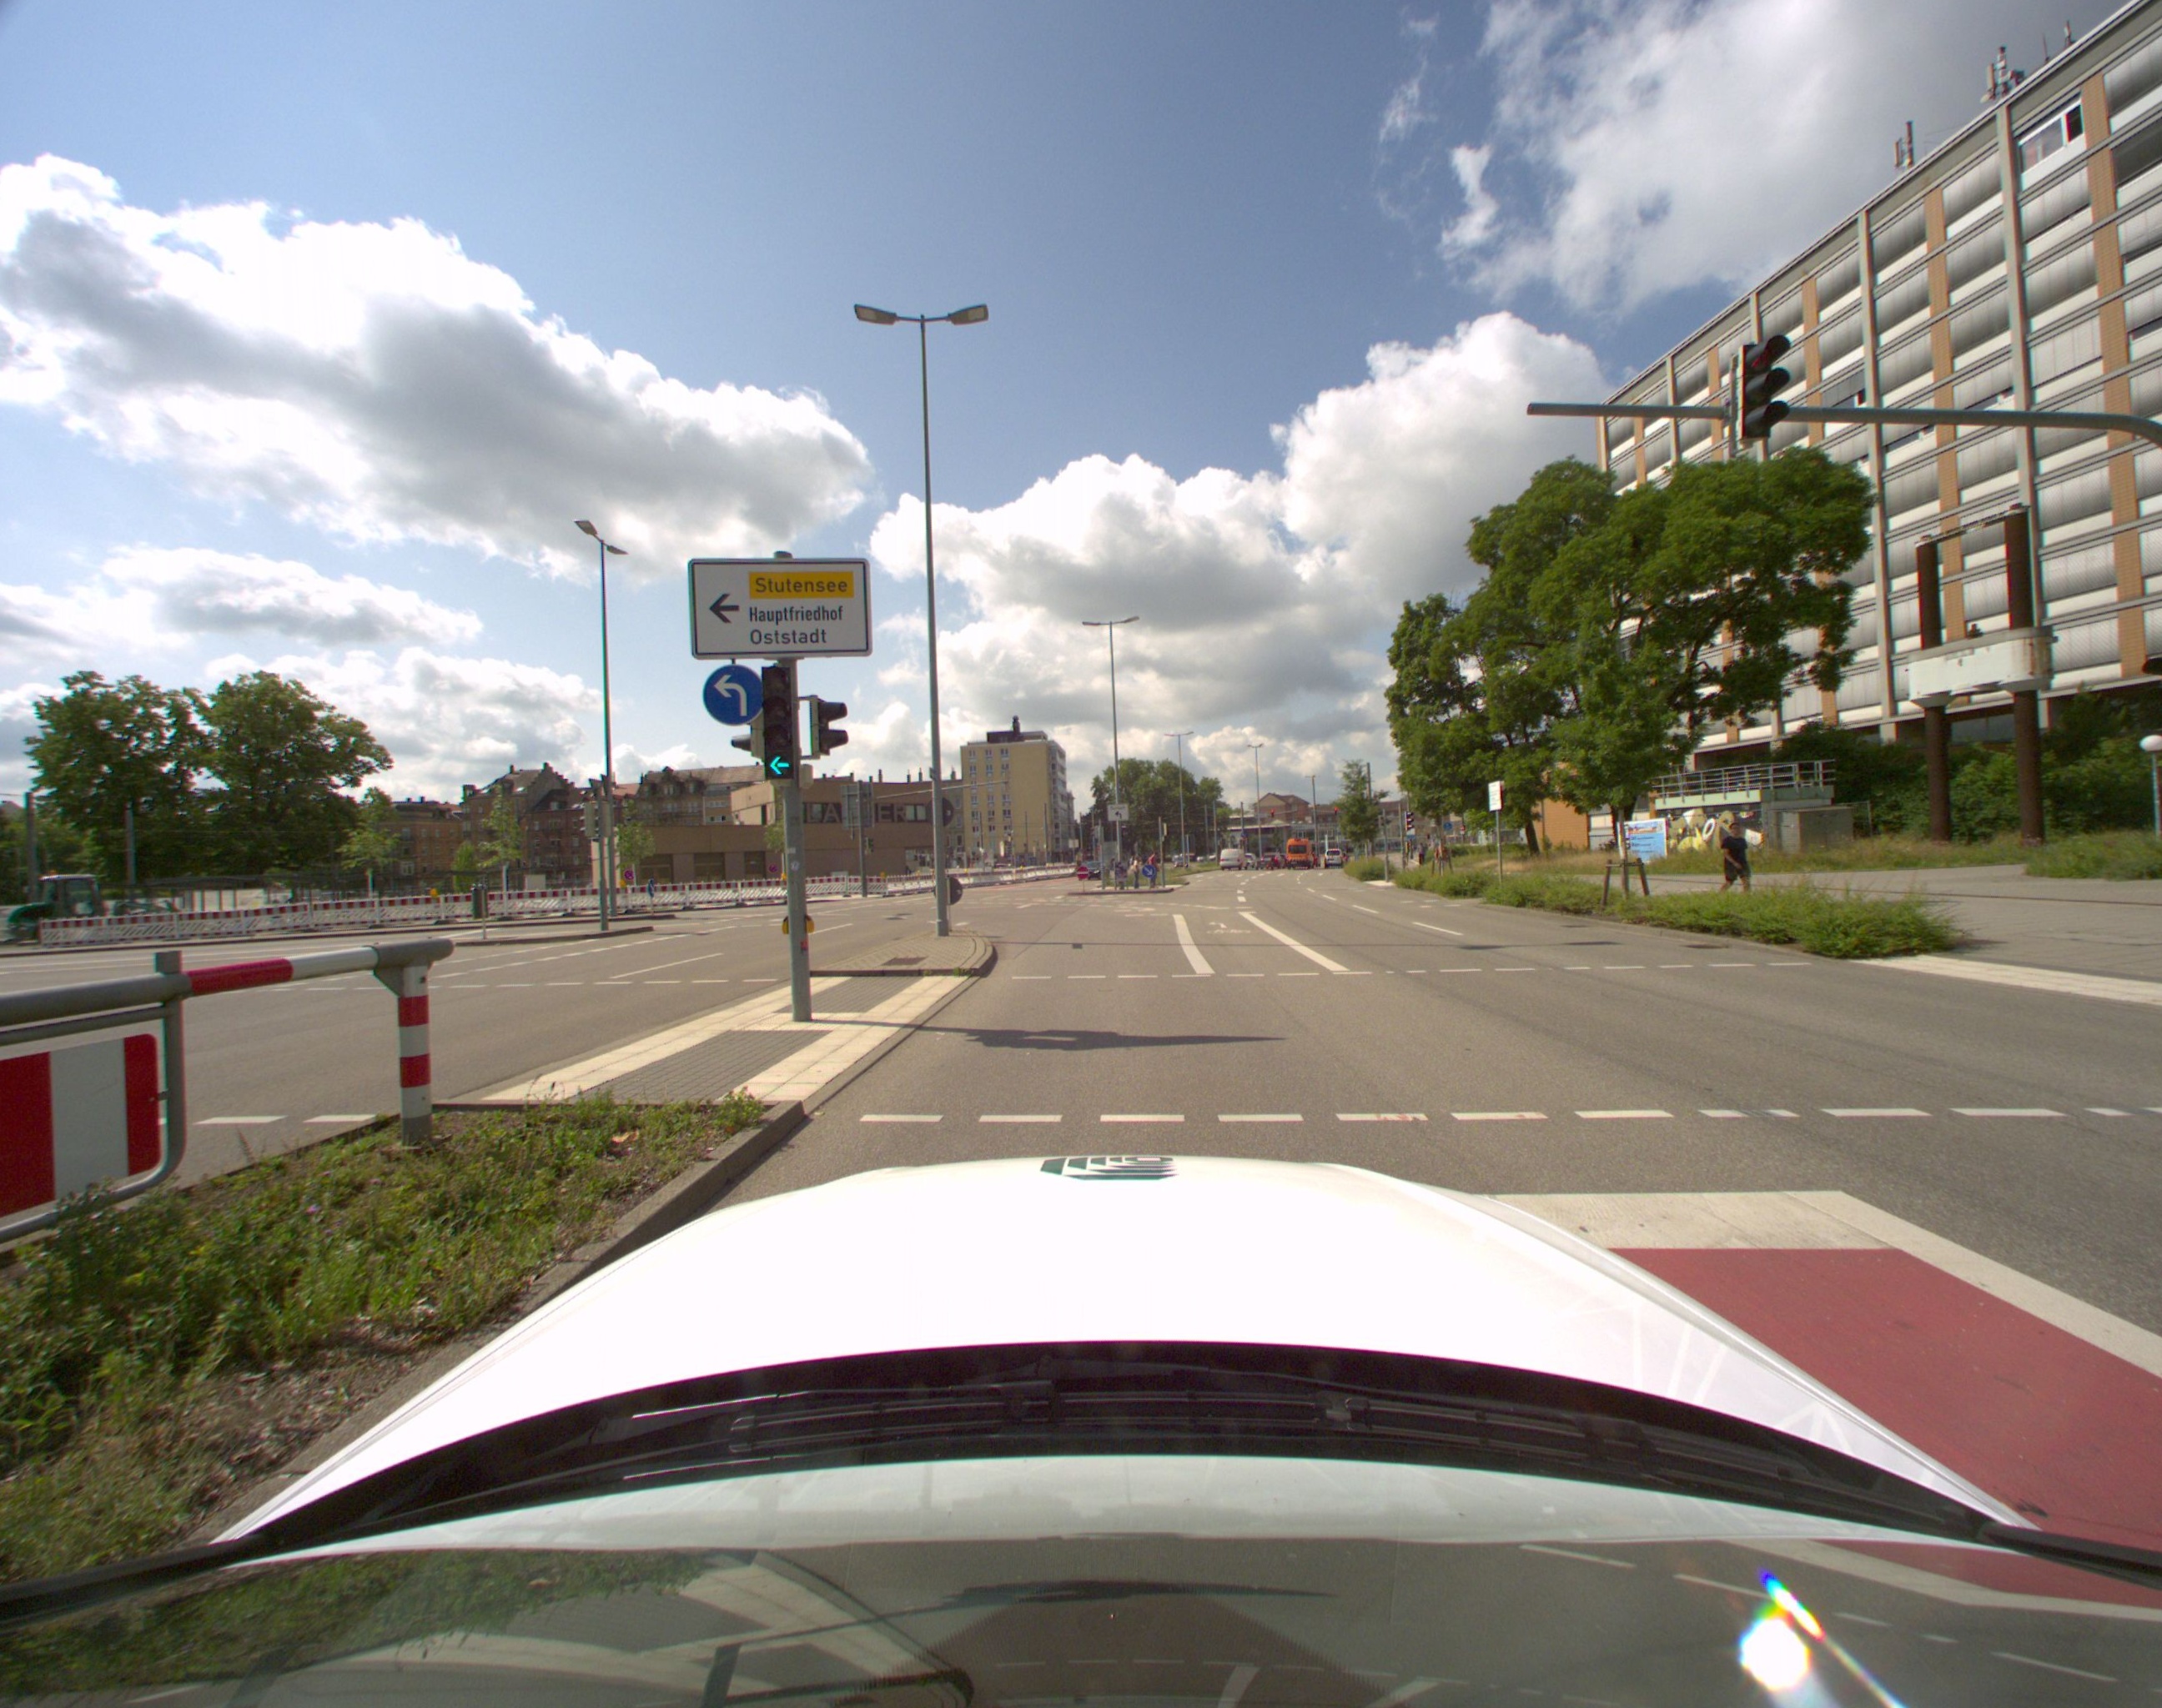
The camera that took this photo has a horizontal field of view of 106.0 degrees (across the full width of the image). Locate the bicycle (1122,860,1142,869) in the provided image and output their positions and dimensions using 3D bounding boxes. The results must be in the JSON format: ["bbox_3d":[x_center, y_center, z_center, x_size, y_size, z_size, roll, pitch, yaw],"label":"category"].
[{"bbox_3d":[6.637,1.311,105.746,2.359,1.067,0.847,-3,-1,19],"label":"bicycle"}]

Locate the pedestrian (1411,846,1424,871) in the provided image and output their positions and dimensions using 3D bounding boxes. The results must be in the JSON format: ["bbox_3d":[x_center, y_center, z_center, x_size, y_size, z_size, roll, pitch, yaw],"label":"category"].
[{"bbox_3d":[24.675,0.322,59.658,0.781,1.784,0.670,-3,-1,20],"label":"pedestrian"}]

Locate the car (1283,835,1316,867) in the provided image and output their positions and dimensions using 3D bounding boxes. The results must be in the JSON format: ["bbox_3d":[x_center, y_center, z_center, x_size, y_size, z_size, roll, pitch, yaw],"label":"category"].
[{"bbox_3d":[20.088,-0.285,74.713,2.111,2.780,4.664,-3,-1,23],"label":"car"}]

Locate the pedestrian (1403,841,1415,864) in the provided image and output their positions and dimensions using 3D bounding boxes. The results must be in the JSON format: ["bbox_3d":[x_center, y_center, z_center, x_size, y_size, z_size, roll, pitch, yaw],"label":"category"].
[{"bbox_3d":[25.988,-0.096,64.510,0.781,1.784,0.671,-3,-1,24],"label":"pedestrian"}]

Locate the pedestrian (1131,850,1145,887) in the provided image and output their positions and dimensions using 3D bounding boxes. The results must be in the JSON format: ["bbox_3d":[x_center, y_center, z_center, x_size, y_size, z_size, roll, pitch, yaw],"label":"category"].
[{"bbox_3d":[2.717,0.694,38.951,0.522,1.733,0.625,-3,-1,8],"label":"pedestrian"}]

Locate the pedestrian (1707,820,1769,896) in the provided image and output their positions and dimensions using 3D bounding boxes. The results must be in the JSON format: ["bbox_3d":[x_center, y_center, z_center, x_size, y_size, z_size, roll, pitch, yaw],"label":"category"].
[{"bbox_3d":[13.490,0.082,16.730,0.766,1.508,0.552,-2,0,4],"label":"pedestrian"}]

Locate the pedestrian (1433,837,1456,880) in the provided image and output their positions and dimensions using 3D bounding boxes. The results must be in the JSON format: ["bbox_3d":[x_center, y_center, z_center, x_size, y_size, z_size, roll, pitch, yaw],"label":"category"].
[{"bbox_3d":[15.195,0.182,34.089,0.656,1.733,0.579,-3,-1,6],"label":"pedestrian"}]

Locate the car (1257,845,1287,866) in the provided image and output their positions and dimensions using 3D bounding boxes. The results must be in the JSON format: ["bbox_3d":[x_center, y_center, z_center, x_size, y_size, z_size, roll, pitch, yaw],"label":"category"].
[{"bbox_3d":[18.166,0.142,77.454,1.975,1.826,4.023,-3,-1,24],"label":"car"}]

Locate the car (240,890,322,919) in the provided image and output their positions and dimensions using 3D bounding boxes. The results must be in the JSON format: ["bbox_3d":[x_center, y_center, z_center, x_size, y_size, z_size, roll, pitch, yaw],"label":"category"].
[{"bbox_3d":[-60.271,3.794,61.452,4.202,1.882,1.781,-2,-1,-40],"label":"car"}]

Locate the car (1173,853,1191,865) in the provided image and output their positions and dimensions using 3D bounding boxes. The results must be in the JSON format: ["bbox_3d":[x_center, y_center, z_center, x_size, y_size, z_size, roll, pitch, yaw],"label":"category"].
[{"bbox_3d":[12.685,0.624,102.015,1.649,1.480,4.079,0,0,16],"label":"car"}]

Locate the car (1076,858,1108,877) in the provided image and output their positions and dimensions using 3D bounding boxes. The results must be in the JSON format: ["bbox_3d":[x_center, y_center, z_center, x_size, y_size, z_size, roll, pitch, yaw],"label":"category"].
[{"bbox_3d":[0.905,1.029,64.516,1.780,1.388,4.240,-2,-1,11],"label":"car"}]

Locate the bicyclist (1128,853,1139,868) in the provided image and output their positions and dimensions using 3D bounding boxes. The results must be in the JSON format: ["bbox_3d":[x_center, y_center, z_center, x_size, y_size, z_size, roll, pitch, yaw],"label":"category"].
[{"bbox_3d":[6.825,0.881,105.681,1.209,1.909,0.838,-3,-1,19],"label":"bicyclist"}]

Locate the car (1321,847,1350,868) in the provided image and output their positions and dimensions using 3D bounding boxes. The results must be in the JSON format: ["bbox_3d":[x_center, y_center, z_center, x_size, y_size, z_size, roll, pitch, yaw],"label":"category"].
[{"bbox_3d":[23.588,0.274,75.508,1.975,1.795,4.023,-3,-1,24],"label":"car"}]

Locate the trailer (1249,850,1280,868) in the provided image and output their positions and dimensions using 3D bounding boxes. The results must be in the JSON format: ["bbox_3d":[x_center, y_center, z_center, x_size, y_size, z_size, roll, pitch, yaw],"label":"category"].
[{"bbox_3d":[16.729,0.473,74.196,1.975,1.477,4.023,-3,-1,24],"label":"trailer"}]

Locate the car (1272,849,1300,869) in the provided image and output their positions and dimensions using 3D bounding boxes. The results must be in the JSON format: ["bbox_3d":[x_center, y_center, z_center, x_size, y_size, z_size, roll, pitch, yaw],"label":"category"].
[{"bbox_3d":[21.032,0.489,83.424,1.974,1.938,4.664,-3,-1,23],"label":"car"}]

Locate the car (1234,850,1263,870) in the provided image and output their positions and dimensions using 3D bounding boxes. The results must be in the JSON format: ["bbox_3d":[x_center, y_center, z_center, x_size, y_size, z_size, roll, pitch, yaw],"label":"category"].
[{"bbox_3d":[17.401,0.576,84.261,1.974,1.938,4.664,-3,-1,23],"label":"car"}]

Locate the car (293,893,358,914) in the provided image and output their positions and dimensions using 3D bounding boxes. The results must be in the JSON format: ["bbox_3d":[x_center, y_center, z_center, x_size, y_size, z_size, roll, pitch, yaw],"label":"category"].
[{"bbox_3d":[-74.628,4.853,80.480,4.386,1.793,1.765,-2,-1,-31],"label":"car"}]

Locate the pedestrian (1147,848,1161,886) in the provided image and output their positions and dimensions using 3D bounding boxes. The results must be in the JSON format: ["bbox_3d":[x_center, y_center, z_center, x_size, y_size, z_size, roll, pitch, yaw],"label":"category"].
[{"bbox_3d":[3.397,0.605,37.983,0.522,1.733,0.625,-3,-1,8],"label":"pedestrian"}]

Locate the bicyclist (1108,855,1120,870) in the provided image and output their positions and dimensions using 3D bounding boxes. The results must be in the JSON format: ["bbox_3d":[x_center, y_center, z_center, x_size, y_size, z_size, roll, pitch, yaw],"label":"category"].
[{"bbox_3d":[4.107,1.049,100.984,1.209,1.909,0.862,-3,-1,19],"label":"bicyclist"}]

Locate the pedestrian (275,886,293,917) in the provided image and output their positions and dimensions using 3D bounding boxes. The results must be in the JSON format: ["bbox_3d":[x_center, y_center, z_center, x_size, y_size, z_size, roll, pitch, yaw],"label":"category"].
[{"bbox_3d":[-52.280,3.104,53.453,0.767,2.014,0.741,-2,-1,-42],"label":"pedestrian"}]

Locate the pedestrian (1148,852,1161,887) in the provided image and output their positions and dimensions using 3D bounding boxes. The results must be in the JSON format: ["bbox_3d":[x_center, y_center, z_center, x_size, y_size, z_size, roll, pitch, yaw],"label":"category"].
[{"bbox_3d":[3.607,0.764,40.100,0.522,1.684,0.625,-3,-1,8],"label":"pedestrian"}]

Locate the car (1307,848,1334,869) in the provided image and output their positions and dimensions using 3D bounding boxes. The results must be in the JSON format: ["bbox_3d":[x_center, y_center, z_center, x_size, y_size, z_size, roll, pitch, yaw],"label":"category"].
[{"bbox_3d":[24.246,0.402,82.341,1.974,1.938,4.664,-3,-1,23],"label":"car"}]

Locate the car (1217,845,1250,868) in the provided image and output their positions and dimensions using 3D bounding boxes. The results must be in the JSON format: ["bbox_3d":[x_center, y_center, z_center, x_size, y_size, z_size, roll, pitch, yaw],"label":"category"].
[{"bbox_3d":[14.408,0.230,76.615,1.988,1.966,4.664,-3,-1,23],"label":"car"}]

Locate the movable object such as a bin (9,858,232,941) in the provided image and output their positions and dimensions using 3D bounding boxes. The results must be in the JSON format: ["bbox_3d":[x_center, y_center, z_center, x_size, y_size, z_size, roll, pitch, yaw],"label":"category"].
[{"bbox_3d":[-38.094,1.727,32.578,2.259,2.885,5.577,-4,-1,42],"label":"movable object such as a bin"}]
